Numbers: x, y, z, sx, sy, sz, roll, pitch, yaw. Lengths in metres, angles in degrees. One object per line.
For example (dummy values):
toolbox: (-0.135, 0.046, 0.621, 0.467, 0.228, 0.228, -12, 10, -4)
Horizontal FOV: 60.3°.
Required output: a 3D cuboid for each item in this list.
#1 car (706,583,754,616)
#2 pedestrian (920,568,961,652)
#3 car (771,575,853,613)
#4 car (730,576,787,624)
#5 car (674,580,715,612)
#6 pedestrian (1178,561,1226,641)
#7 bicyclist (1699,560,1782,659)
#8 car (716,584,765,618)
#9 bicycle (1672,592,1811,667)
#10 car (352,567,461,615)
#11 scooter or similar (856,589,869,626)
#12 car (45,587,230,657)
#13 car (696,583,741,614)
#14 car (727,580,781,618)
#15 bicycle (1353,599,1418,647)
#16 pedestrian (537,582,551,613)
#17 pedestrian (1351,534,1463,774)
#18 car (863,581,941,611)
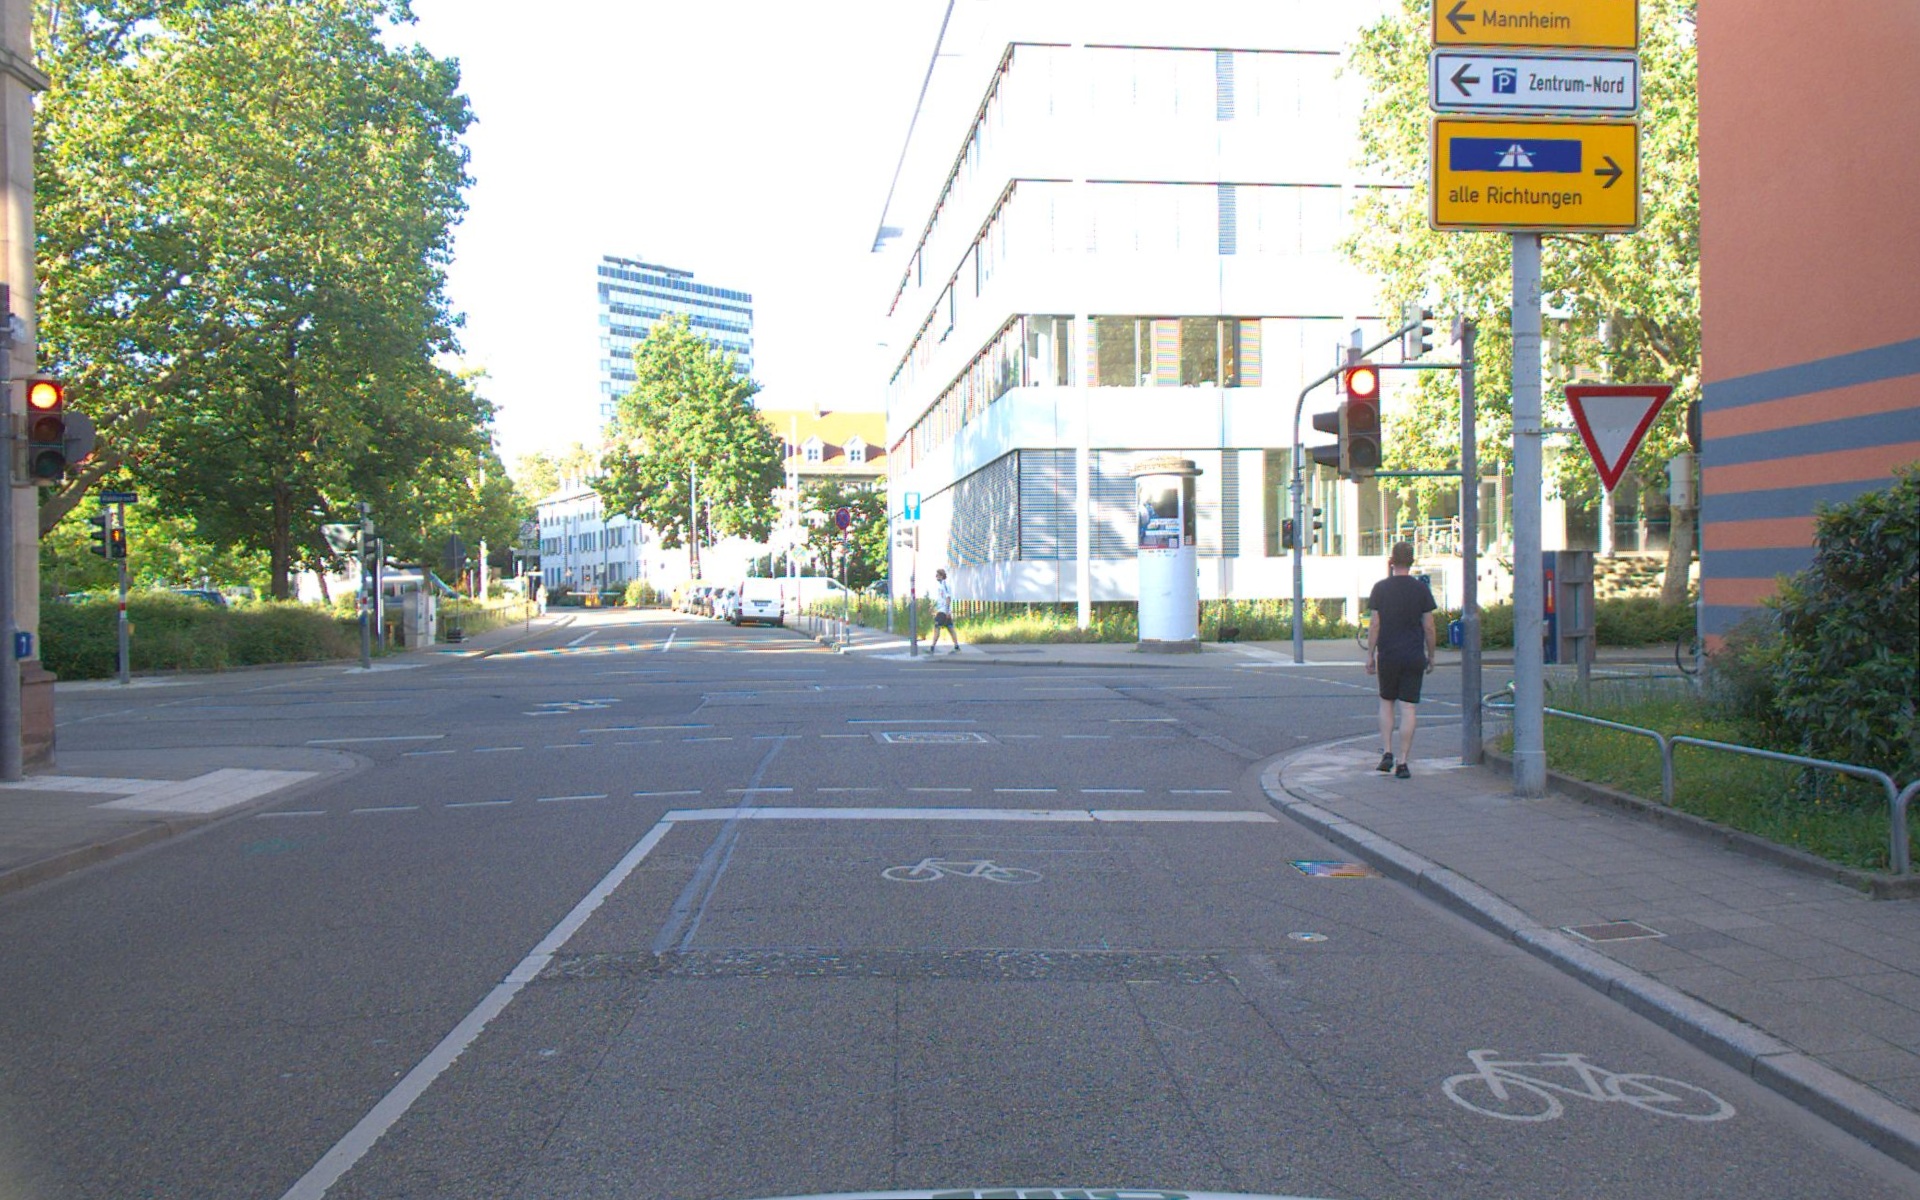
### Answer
car: (-11.309, -0.019, 81.084, 1.959, 1.525, 4.272, 1, 0, -13)
pedestrian: (-0.457, 0.228, 37.797, 0.895, 1.901, 0.742, 1, -1, -2)
car: (-9.202, -0.366, 102.798, 4.718, 2.196, 1.990, 1, 0, -18)
car: (-7.917, 0.008, 64.703, 1.957, 1.755, 4.641, 1, 0, -10)
car: (-15.385, -0.225, 95.605, 1.960, 1.755, 4.635, 1, 0, -14)
pedestrian: (5.692, 0.030, 38.937, 0.897, 1.847, 0.760, 1, -1, -9)
bicyclist: (12.508, 0.148, 26.535, 1.052, 1.554, 0.593, -1, 0, 5)
car: (-10.196, 0.049, 76.653, 1.958, 1.525, 4.639, 1, 0, -11)
bicycle: (12.519, 0.469, 26.528, 1.922, 1.172, 0.593, -1, 0, 5)
car: (-24.964, -0.395, 74.682, 4.363, 2.049, 1.995, 1, 0, -10)
scooter or similar: (-3.429, 0.260, 58.236, 0.429, 1.278, 1.418, -1, 0, -5)
car: (-18.368, 0.486, 37.065, 3.347, 1.483, 1.646, 1, 0, -11)
car: (-12.552, -0.062, 85.790, 1.959, 1.525, 4.637, 1, 0, -13)
car: (-8.870, -0.027, 70.902, 1.958, 1.525, 4.639, 1, 0, -11)
bicycle: (9.322, 0.504, 36.283, 0.376, 1.026, 1.410, -1, 0, -42)
pedestrian: (-22.066, -0.121, 87.698, 0.688, 1.614, 0.634, 1, -1, -16)
pedestrian: (3.536, 0.415, 13.132, 0.685, 1.842, 0.720, 1, -1, 1)
car: (-3.676, -0.252, 104.724, 4.563, 1.755, 1.991, 1, 0, -17)
